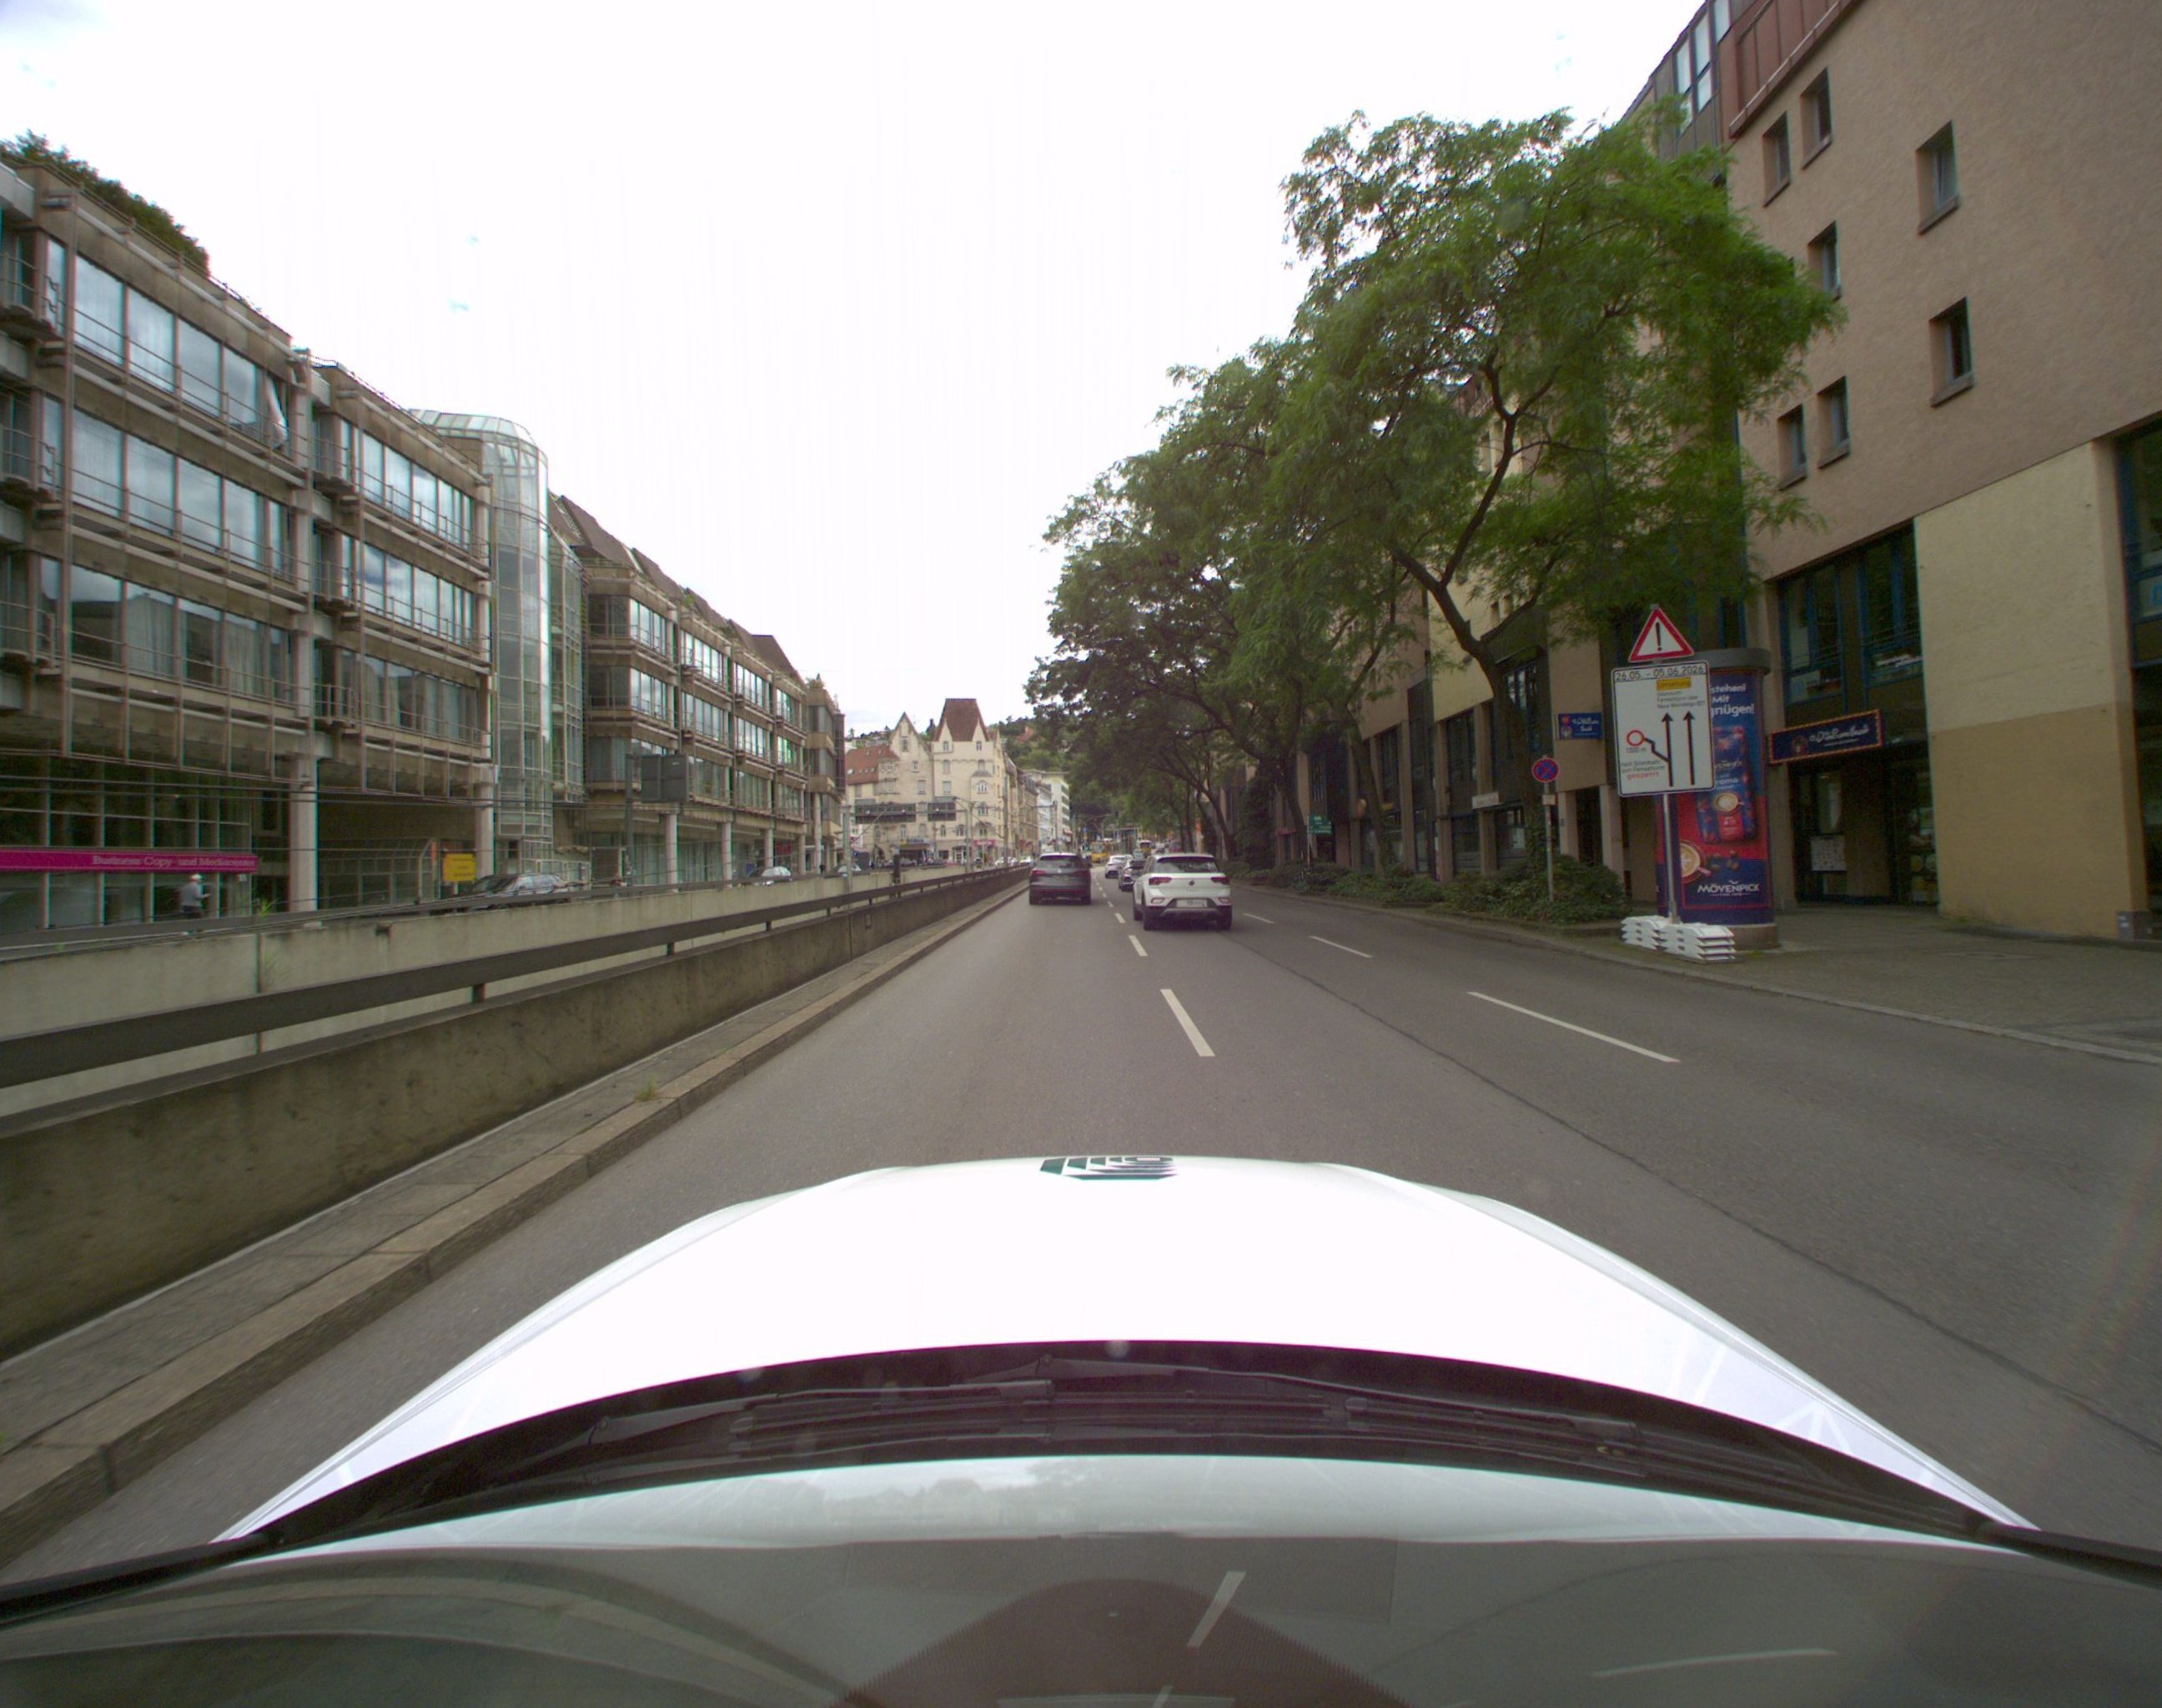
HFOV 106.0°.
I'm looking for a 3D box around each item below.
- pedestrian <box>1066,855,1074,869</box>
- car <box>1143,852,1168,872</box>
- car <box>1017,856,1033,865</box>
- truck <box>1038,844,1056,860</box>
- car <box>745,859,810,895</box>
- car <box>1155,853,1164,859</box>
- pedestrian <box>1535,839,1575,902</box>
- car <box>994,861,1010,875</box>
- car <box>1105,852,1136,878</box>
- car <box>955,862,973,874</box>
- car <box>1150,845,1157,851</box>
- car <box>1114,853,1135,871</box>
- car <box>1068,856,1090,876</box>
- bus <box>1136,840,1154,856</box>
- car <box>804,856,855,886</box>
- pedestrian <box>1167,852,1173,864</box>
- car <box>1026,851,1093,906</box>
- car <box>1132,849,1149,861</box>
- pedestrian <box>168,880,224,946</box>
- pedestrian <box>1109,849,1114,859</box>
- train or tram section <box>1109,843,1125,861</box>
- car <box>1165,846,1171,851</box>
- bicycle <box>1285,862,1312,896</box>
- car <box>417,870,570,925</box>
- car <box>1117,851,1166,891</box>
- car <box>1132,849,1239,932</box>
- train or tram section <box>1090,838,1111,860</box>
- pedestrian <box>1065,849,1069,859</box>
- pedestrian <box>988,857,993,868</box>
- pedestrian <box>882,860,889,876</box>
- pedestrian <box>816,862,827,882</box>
[{"bbox_3d":[-1.270,0.935,95.523,0.760,1.721,0.638,-1,-1,6],"label":"pedestrian"},{"bbox_3d":[7.826,0.820,85.630,2.356,2.014,5.150,0,-1,2],"label":"car"},{"bbox_3d":[-9.849,1.191,143.918,1.739,1.561,4.525,-1,-1,9],"label":"car"},{"bbox_3d":[-7.046,-0.361,168.271,2.253,3.076,7.392,-1,-1,9],"label":"truck"},{"bbox_3d":[-17.019,1.305,45.915,1.987,1.914,4.378,0,-1,0],"label":"car"},{"bbox_3d":[15.561,0.325,161.269,1.574,1.172,3.685,0,0,7],"label":"car"},{"bbox_3d":[13.084,0.452,22.504,0.706,1.711,0.689,-1,0,6],"label":"pedestrian"},{"bbox_3d":[-10.745,1.903,110.677,1.829,1.842,4.601,2,-1,-2],"label":"car"},{"bbox_3d":[2.600,0.732,54.693,1.878,1.684,4.161,0,-1,0],"label":"car"},{"bbox_3d":[-16.117,1.876,112.267,1.657,1.501,4.416,-2,0,2],"label":"car"},{"bbox_3d":[20.461,-1.629,229.409,1.665,1.561,3.685,0,-1,7],"label":"car"},{"bbox_3d":[4.963,0.907,93.115,2.356,2.014,5.150,0,-1,2],"label":"car"},{"bbox_3d":[-0.159,1.021,70.122,1.878,1.684,4.161,0,-1,0],"label":"car"},{"bbox_3d":[13.987,-1.244,177.663,3.354,3.065,13.349,0,0,7],"label":"bus"},{"bbox_3d":[-17.582,1.159,57.142,1.987,1.963,4.790,-2,0,0],"label":"car"},{"bbox_3d":[14.067,0.649,128.361,0.690,1.777,0.690,-6,-1,2],"label":"pedestrian"},{"bbox_3d":[-0.690,0.754,26.705,1.988,1.636,3.998,-1,0,-1],"label":"car"},{"bbox_3d":[10.428,0.154,142.000,2.350,2.014,5.162,-1,-1,10],"label":"car"},{"bbox_3d":[-24.681,1.621,22.725,0.728,1.793,0.740,0,-1,1],"label":"pedestrian"},{"bbox_3d":[5.064,0.037,134.747,0.682,1.711,0.713,-1,0,6],"label":"pedestrian"},{"bbox_3d":[7.738,-0.412,172.860,2.798,3.666,6.765,0,0,7],"label":"train or tram section"},{"bbox_3d":[25.112,-1.622,234.502,1.665,1.561,3.685,0,-1,7],"label":"car"},{"bbox_3d":[7.950,0.898,29.840,0.361,1.201,1.566,-2,0,-8],"label":"bicycle"},{"bbox_3d":[-19.647,1.391,27.529,1.808,1.560,4.640,-2,0,-1],"label":"car"},{"bbox_3d":[2.655,0.718,36.416,1.878,1.684,4.161,0,-1,0],"label":"car"},{"bbox_3d":[2.139,0.712,17.785,1.831,1.584,4.156,0,-1,0],"label":"car"},{"bbox_3d":[3.339,-0.830,137.671,2.820,3.678,5.764,0,0,7],"label":"train or tram section"},{"bbox_3d":[-2.479,0.037,144.710,0.634,1.711,0.689,-1,0,-2],"label":"pedestrian"},{"bbox_3d":[-14.329,1.334,129.100,0.505,1.780,0.580,-2,-1,21],"label":"pedestrian"},{"bbox_3d":[-21.601,1.545,89.796,0.507,1.780,0.578,-1,-1,9],"label":"pedestrian"},{"bbox_3d":[-23.670,1.675,74.245,0.728,1.811,0.740,0,-1,1],"label":"pedestrian"}]
